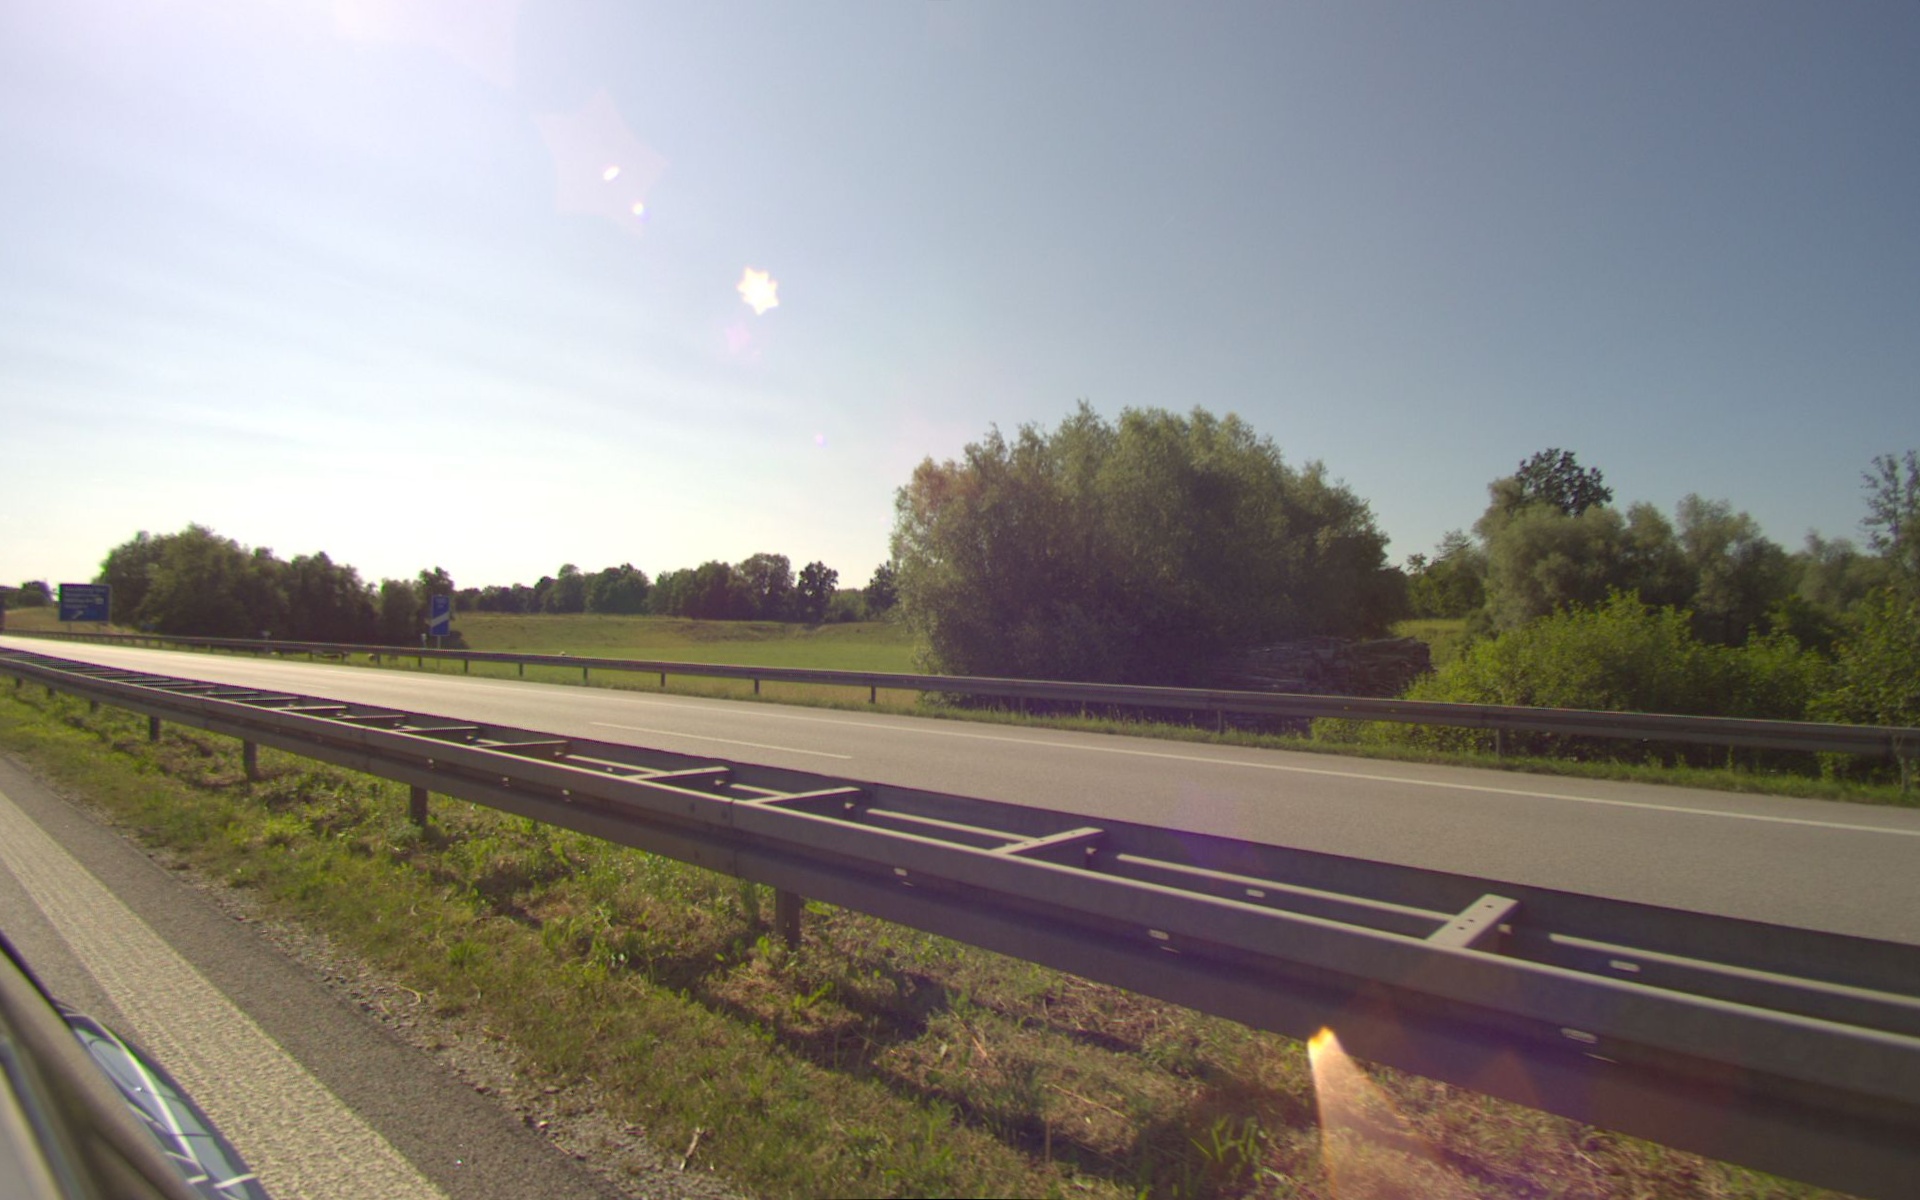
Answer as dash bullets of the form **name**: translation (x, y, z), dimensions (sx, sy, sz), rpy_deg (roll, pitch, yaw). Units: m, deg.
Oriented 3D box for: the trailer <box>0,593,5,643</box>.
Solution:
- **trailer**: translation (-87.283, 1.578, 89.233), dimensions (14.383, 4.192, 2.759), rpy_deg (-1, -3, 40)
